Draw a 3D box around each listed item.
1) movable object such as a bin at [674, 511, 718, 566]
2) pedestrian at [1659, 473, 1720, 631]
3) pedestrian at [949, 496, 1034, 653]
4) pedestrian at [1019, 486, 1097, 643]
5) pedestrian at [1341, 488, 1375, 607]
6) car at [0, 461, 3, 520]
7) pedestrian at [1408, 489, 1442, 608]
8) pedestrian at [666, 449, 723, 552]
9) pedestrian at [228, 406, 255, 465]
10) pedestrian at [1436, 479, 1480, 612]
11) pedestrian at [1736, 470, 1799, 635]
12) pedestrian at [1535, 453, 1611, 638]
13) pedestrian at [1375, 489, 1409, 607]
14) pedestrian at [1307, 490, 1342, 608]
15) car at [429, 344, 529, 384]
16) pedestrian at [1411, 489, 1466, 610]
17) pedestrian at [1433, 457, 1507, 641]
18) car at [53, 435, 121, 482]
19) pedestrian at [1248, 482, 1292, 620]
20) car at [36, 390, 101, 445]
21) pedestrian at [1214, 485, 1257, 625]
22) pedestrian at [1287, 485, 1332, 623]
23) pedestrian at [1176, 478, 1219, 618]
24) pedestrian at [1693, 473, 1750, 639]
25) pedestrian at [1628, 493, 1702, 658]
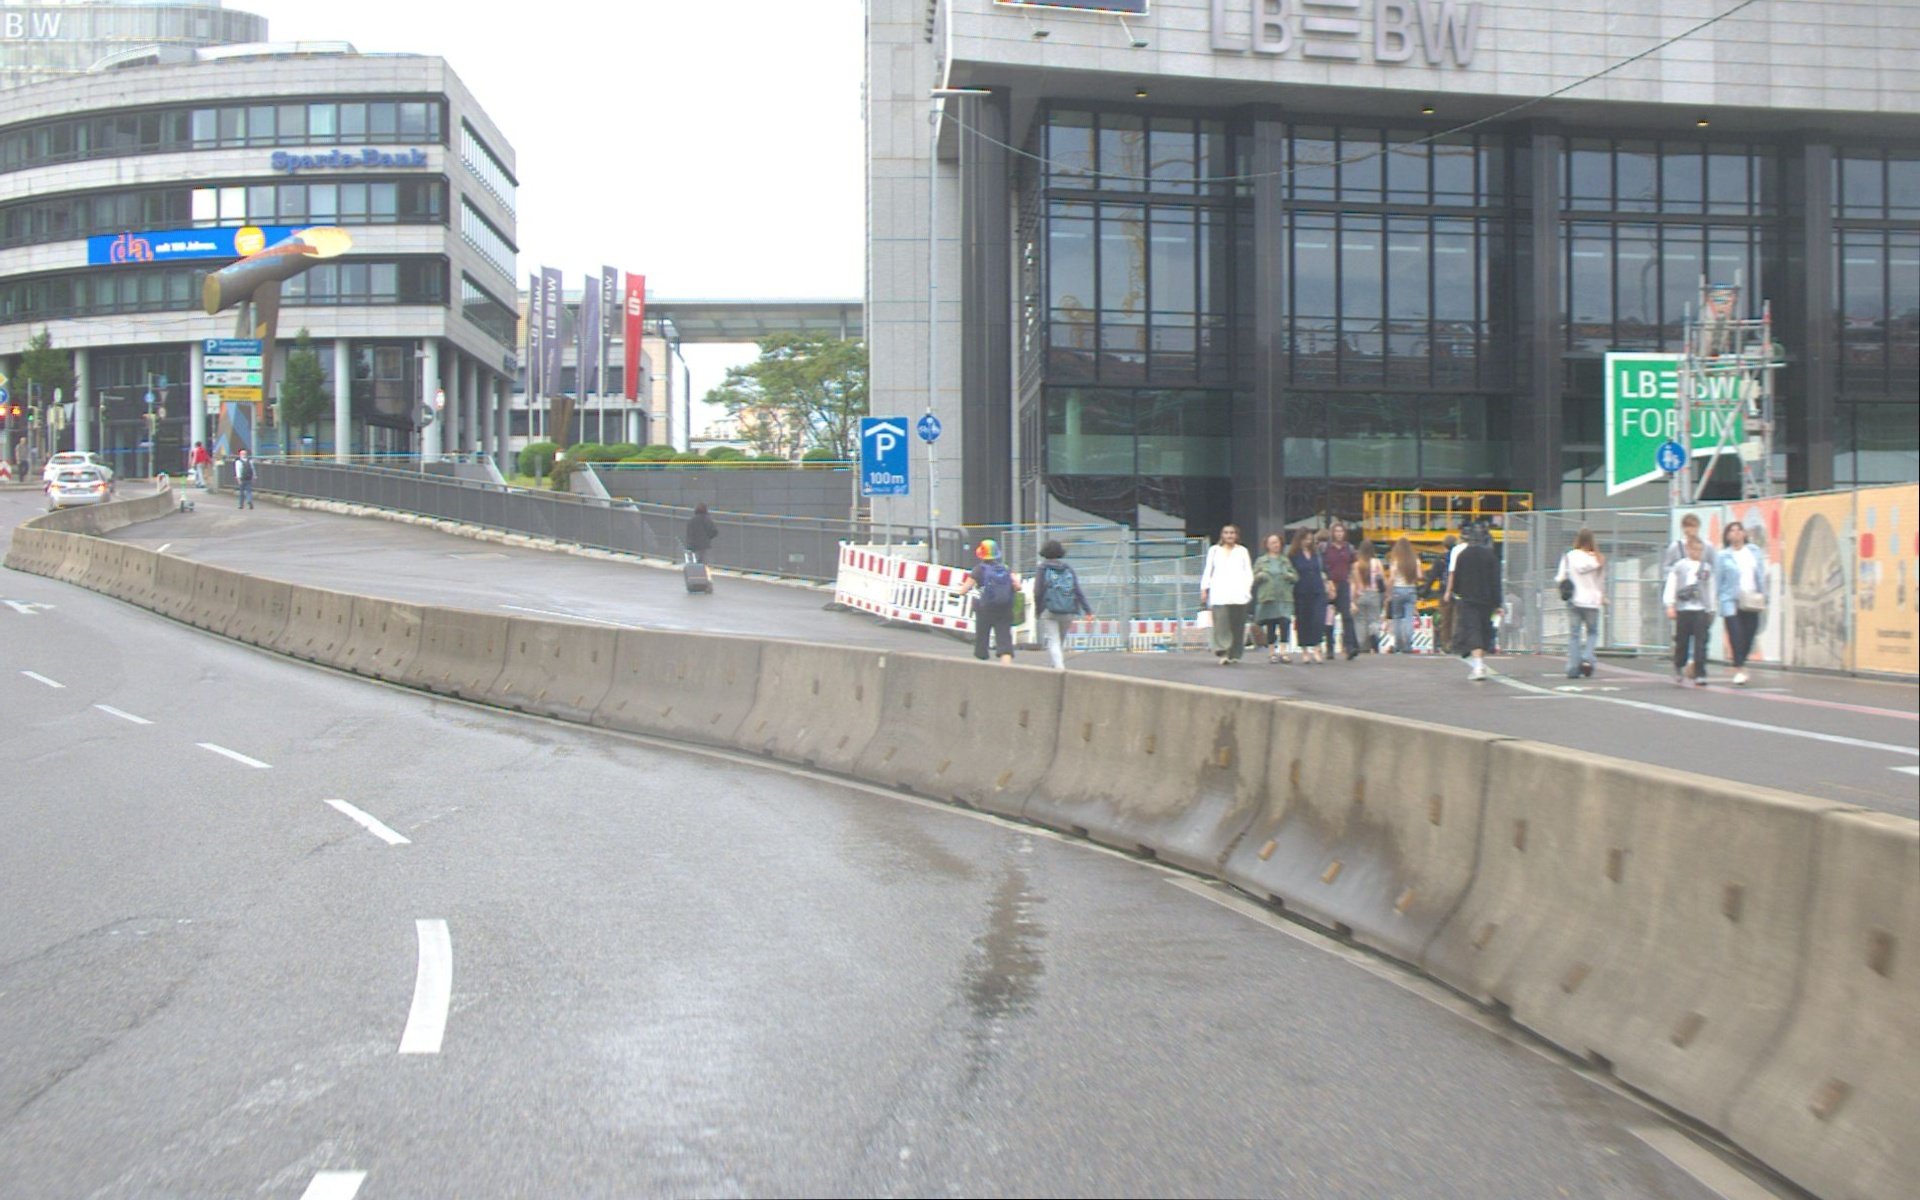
[{"bbox_3d":[-4.618,-1.077,60.149,0.598,0.930,0.742,0,-1,-19],"label":"movable object such as a bin"},{"bbox_3d":[7.904,-0.524,37.278,0.500,1.699,0.733,0,1,0],"label":"pedestrian"},{"bbox_3d":[0.327,-0.274,36.229,0.750,1.636,0.824,0,1,-10],"label":"pedestrian"},{"bbox_3d":[1.033,-0.378,36.348,0.658,1.636,0.824,0,1,-10],"label":"pedestrian"},{"bbox_3d":[5.758,-0.762,49.725,0.448,1.699,0.646,0,1,10],"label":"pedestrian"},{"bbox_3d":[-25.317,-2.860,86.854,1.674,1.503,3.746,0,-1,-7],"label":"car"},{"bbox_3d":[6.706,-0.750,49.532,0.448,1.699,0.646,0,2,10],"label":"pedestrian"},{"bbox_3d":[-4.673,-1.747,60.571,0.756,1.784,1.057,0,1,-19],"label":"pedestrian"},{"bbox_3d":[-21.537,-4.940,103.050,0.625,1.758,0.590,0,2,4],"label":"pedestrian"},{"bbox_3d":[6.826,-0.753,47.163,0.529,1.812,0.536,0,1,2],"label":"pedestrian"},{"bbox_3d":[8.382,-0.494,35.703,0.502,1.699,0.647,0,1,1],"label":"pedestrian"},{"bbox_3d":[6.732,-0.606,37.809,0.784,2.007,0.863,0,1,8],"label":"pedestrian"},{"bbox_3d":[6.233,-0.757,49.612,0.448,1.699,0.646,0,1,10],"label":"pedestrian"},{"bbox_3d":[5.285,-0.747,49.800,0.448,1.699,0.646,0,1,10],"label":"pedestrian"},{"bbox_3d":[-18.897,-9.271,135.132,1.626,1.430,3.732,2,2,41],"label":"car"},{"bbox_3d":[6.786,-0.725,48.756,0.511,1.699,0.574,-1,2,-35],"label":"pedestrian"},{"bbox_3d":[5.640,-0.567,38.018,0.784,2.007,0.863,0,1,8],"label":"pedestrian"},{"bbox_3d":[-25.948,-4.197,102.285,1.824,1.348,3.867,0,2,-13],"label":"car"},{"bbox_3d":[3.821,-0.608,42.375,0.453,1.699,0.647,0,1,-3],"label":"pedestrian"},{"bbox_3d":[-30.939,-6.320,119.434,1.993,1.798,4.267,0,2,-12],"label":"car"},{"bbox_3d":[3.372,-0.550,42.112,0.448,1.699,0.647,0,1,-3],"label":"pedestrian"},{"bbox_3d":[4.315,-0.573,42.490,0.448,1.699,0.647,0,1,-3],"label":"pedestrian"},{"bbox_3d":[2.903,-0.643,42.074,0.448,1.699,0.647,0,1,-3],"label":"pedestrian"},{"bbox_3d":[7.864,-0.461,35.516,0.448,1.699,0.647,0,1,1],"label":"pedestrian"},{"bbox_3d":[7.285,-0.259,35.566,0.625,1.699,0.647,0,1,1],"label":"pedestrian"}]
